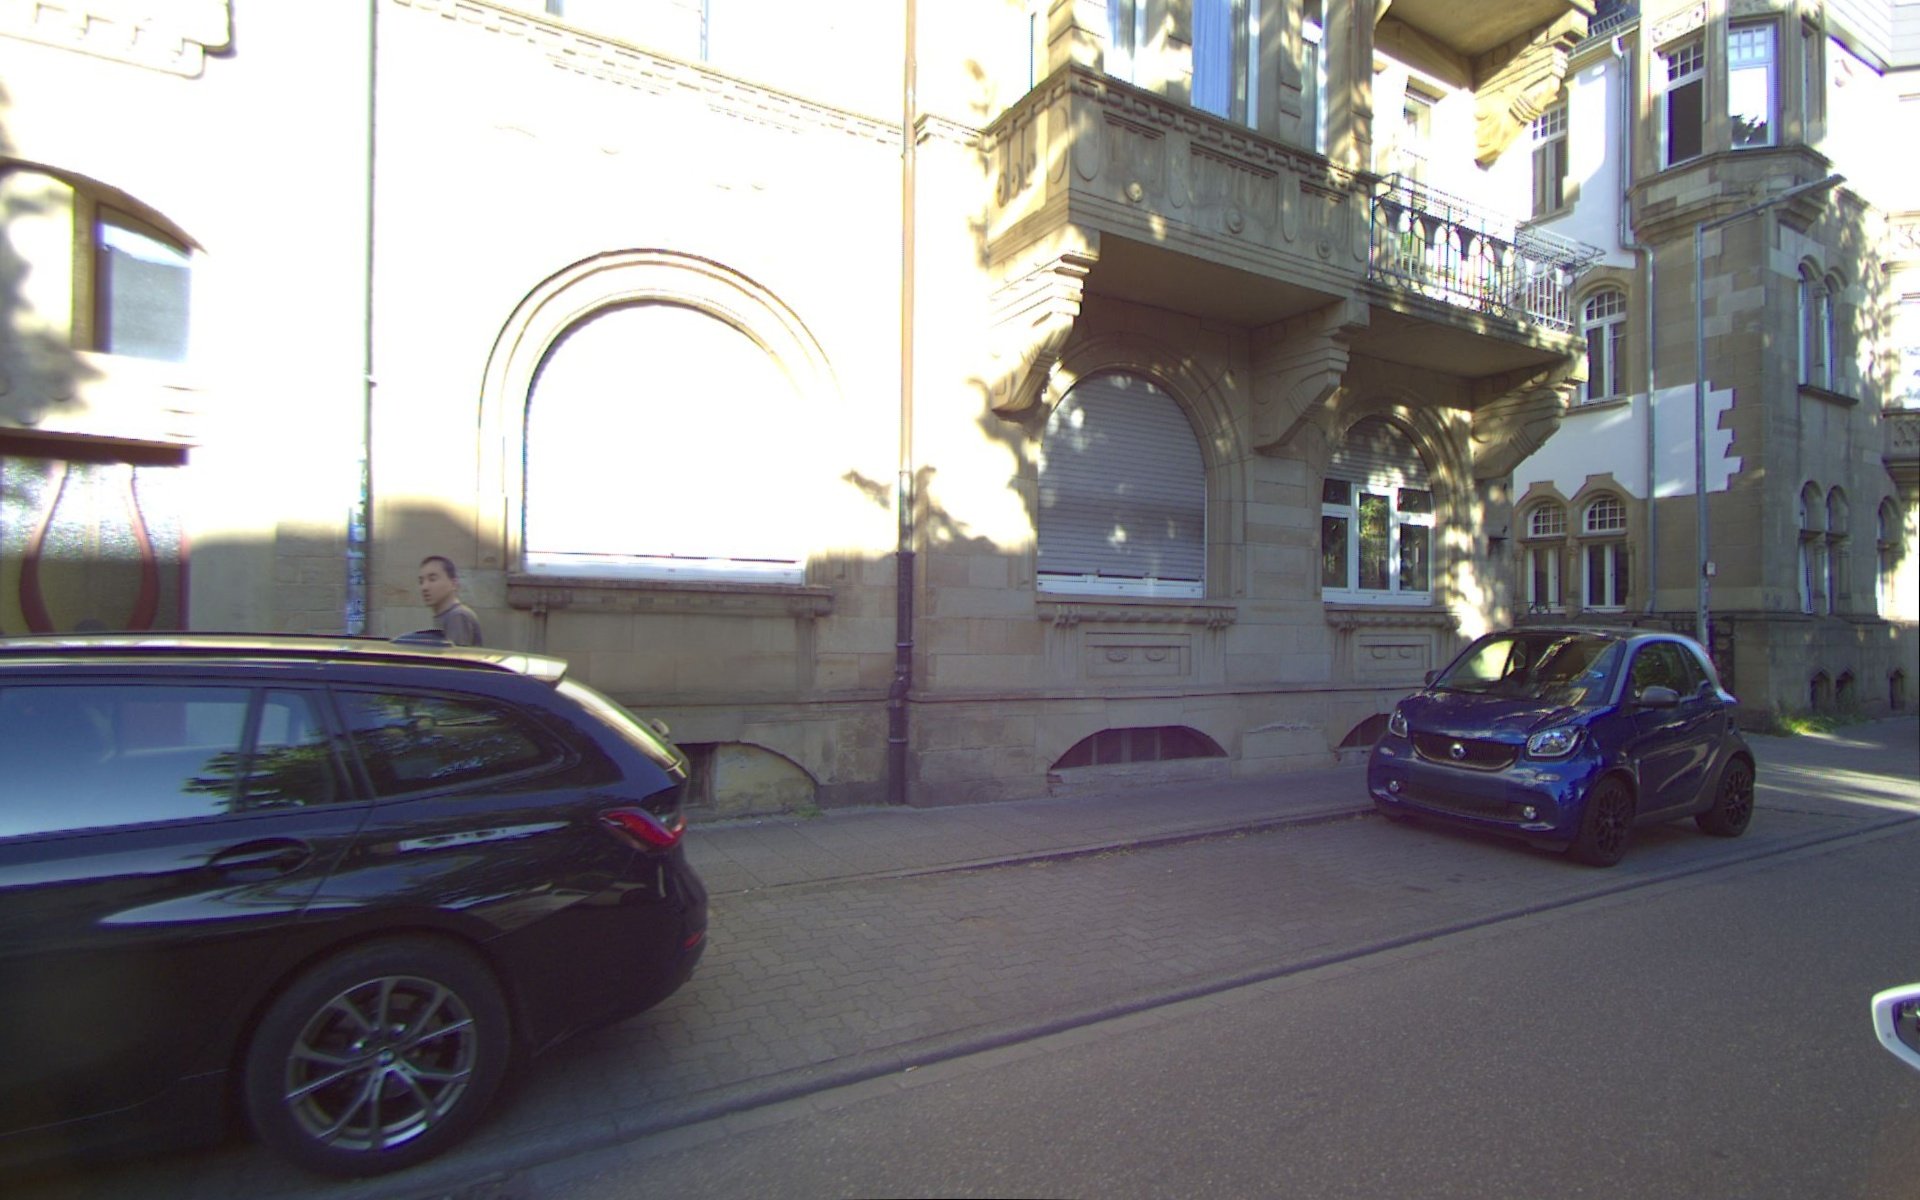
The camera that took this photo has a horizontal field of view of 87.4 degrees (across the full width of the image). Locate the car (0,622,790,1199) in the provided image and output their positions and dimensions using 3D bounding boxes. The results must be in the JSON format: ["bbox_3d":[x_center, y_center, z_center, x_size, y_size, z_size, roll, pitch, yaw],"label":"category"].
[{"bbox_3d":[-2.923,0.815,2.941,4.496,1.449,1.667,1,1,-30],"label":"car"}]

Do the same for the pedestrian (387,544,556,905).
[{"bbox_3d":[-2.694,0.621,5.510,0.726,1.765,0.934,2,-1,-30],"label":"pedestrian"}]

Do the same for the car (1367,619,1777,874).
[{"bbox_3d":[4.669,0.947,7.659,2.706,1.509,1.587,1,2,-32],"label":"car"}]

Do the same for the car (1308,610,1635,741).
[{"bbox_3d":[7.530,1.014,15.208,1.699,1.690,4.177,1,-1,-31],"label":"car"}]
